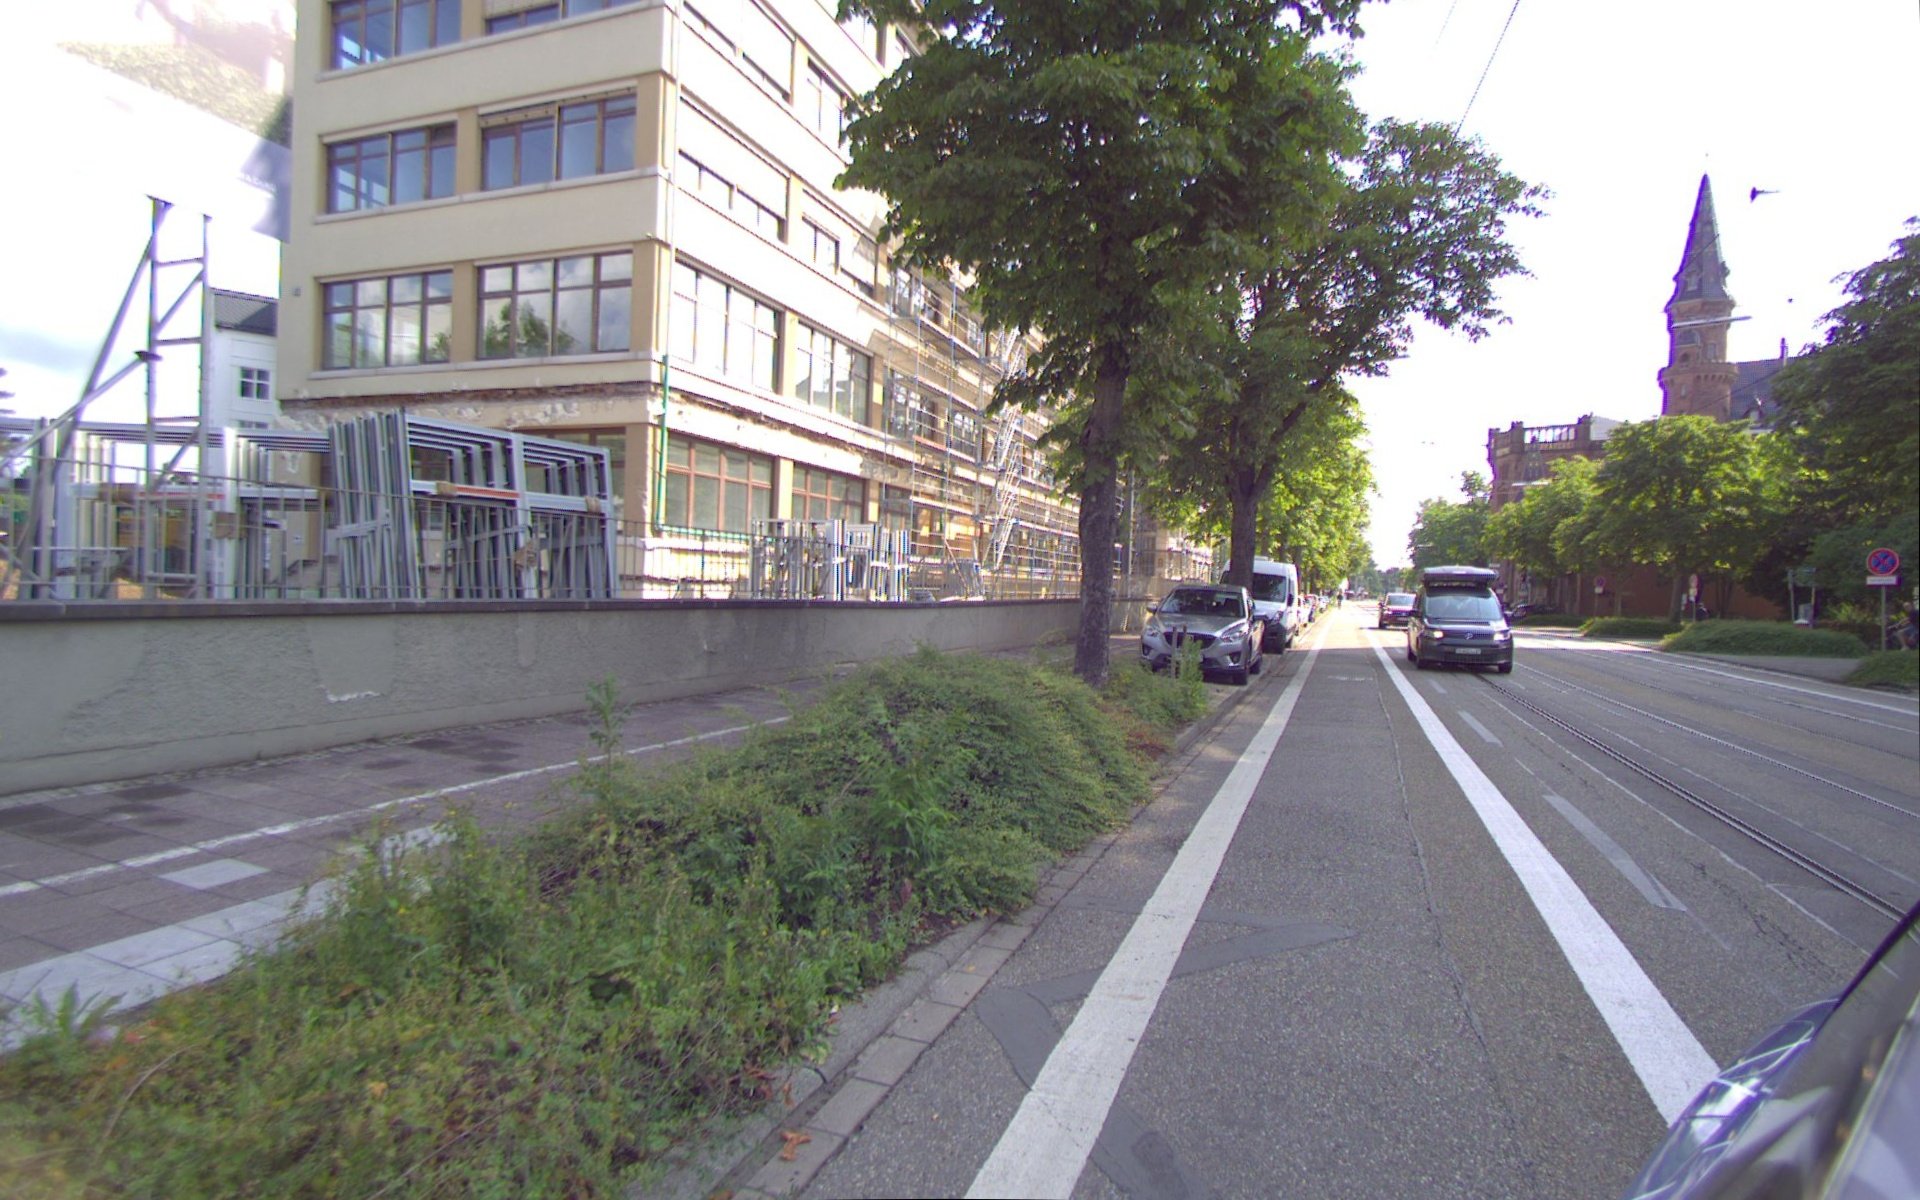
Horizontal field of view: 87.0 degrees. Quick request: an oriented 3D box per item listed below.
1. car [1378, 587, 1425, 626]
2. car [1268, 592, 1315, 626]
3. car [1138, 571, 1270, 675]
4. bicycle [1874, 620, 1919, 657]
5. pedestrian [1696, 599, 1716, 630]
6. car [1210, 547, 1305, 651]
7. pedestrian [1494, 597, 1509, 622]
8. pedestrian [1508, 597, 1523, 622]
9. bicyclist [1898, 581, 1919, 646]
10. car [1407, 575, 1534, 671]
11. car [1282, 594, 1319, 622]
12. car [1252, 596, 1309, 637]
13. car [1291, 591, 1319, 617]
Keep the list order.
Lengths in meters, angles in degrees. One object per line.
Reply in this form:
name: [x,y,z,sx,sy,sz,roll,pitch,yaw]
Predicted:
car: [20.135,0.288,46.225,1.658,1.632,3.945,-2,0,20]
car: [15.137,0.394,46.122,1.553,1.475,3.861,-3,-1,25]
car: [4.514,0.411,18.286,1.750,1.627,4.425,-1,-1,21]
bicycle: [26.225,1.053,27.546,0.557,0.993,1.986,-2,-1,-14]
pedestrian: [41.633,0.801,56.482,0.759,1.650,0.730,-3,-2,31]
car: [8.420,-0.028,28.243,2.104,2.600,5.877,0,0,21]
pedestrian: [44.963,0.756,84.011,0.896,2.039,1.048,-3,-1,24]
pedestrian: [45.883,0.779,83.623,0.895,2.039,1.048,-3,-1,24]
bicyclist: [26.206,0.363,27.467,0.710,1.762,0.783,-2,-1,-16]
car: [11.073,0.429,22.265,1.924,1.796,4.804,2,1,21]
car: [18.789,0.424,55.737,1.717,1.416,3.604,-3,-1,21]
car: [12.014,0.564,37.792,1.719,1.389,4.476,1,0,21]
car: [22.461,0.267,65.803,1.515,1.594,3.621,-3,-1,21]
